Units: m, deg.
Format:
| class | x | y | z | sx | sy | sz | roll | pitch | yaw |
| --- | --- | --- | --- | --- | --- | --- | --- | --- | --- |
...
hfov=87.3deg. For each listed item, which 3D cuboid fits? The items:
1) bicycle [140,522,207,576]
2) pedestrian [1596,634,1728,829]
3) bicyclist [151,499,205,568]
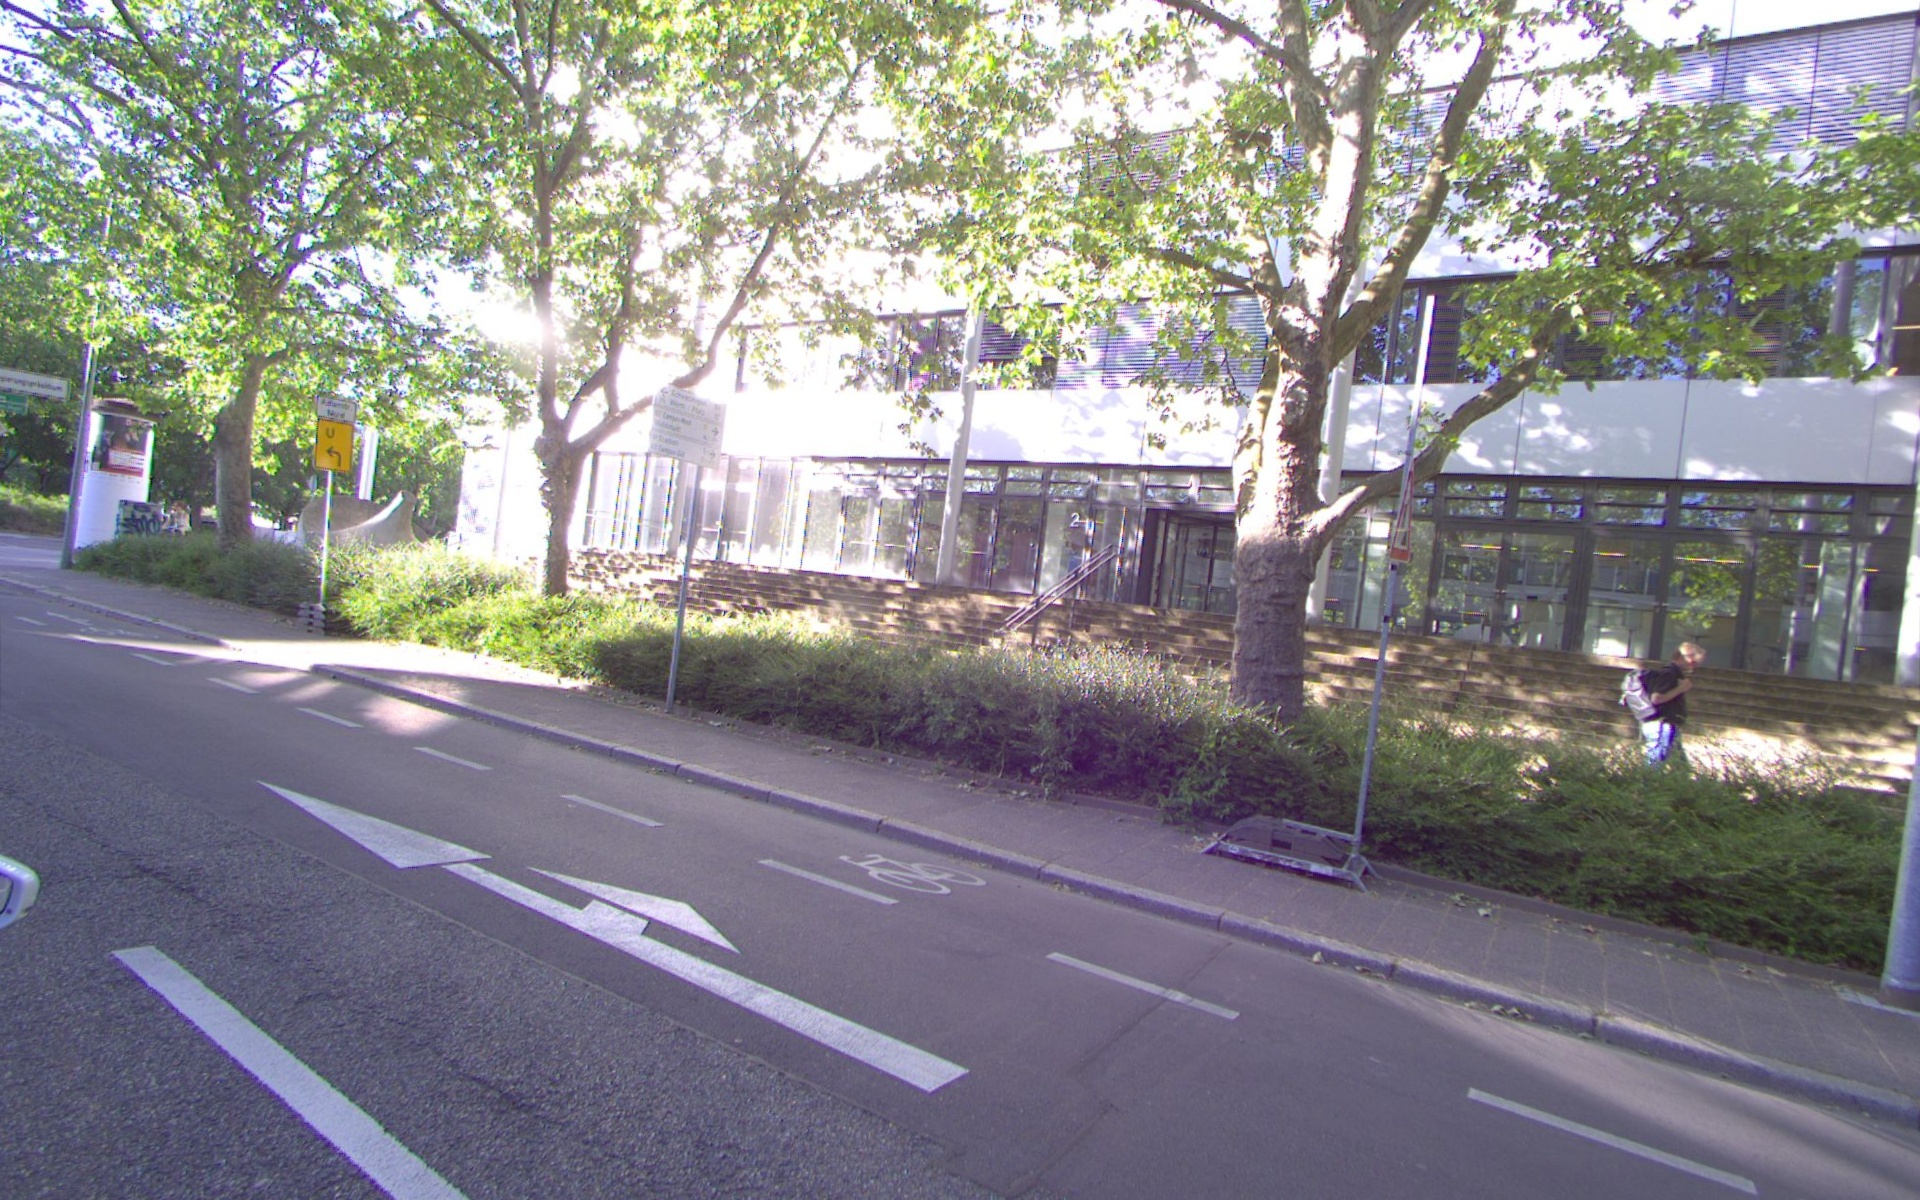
| class | x | y | z | sx | sy | sz | roll | pitch | yaw |
| --- | --- | --- | --- | --- | --- | --- | --- | --- | --- |
| bicycle | -19.634 | -1.247 | 25.161 | 0.709 | 1.186 | 2.164 | 8 | -2 | -25 |
| pedestrian | 7.117 | 1.309 | 10.255 | 0.848 | 1.802 | 0.785 | 7 | 0 | 30 |
| bicyclist | -19.595 | -1.644 | 25.215 | 0.710 | 1.601 | 0.930 | 8 | -1 | -25 |
